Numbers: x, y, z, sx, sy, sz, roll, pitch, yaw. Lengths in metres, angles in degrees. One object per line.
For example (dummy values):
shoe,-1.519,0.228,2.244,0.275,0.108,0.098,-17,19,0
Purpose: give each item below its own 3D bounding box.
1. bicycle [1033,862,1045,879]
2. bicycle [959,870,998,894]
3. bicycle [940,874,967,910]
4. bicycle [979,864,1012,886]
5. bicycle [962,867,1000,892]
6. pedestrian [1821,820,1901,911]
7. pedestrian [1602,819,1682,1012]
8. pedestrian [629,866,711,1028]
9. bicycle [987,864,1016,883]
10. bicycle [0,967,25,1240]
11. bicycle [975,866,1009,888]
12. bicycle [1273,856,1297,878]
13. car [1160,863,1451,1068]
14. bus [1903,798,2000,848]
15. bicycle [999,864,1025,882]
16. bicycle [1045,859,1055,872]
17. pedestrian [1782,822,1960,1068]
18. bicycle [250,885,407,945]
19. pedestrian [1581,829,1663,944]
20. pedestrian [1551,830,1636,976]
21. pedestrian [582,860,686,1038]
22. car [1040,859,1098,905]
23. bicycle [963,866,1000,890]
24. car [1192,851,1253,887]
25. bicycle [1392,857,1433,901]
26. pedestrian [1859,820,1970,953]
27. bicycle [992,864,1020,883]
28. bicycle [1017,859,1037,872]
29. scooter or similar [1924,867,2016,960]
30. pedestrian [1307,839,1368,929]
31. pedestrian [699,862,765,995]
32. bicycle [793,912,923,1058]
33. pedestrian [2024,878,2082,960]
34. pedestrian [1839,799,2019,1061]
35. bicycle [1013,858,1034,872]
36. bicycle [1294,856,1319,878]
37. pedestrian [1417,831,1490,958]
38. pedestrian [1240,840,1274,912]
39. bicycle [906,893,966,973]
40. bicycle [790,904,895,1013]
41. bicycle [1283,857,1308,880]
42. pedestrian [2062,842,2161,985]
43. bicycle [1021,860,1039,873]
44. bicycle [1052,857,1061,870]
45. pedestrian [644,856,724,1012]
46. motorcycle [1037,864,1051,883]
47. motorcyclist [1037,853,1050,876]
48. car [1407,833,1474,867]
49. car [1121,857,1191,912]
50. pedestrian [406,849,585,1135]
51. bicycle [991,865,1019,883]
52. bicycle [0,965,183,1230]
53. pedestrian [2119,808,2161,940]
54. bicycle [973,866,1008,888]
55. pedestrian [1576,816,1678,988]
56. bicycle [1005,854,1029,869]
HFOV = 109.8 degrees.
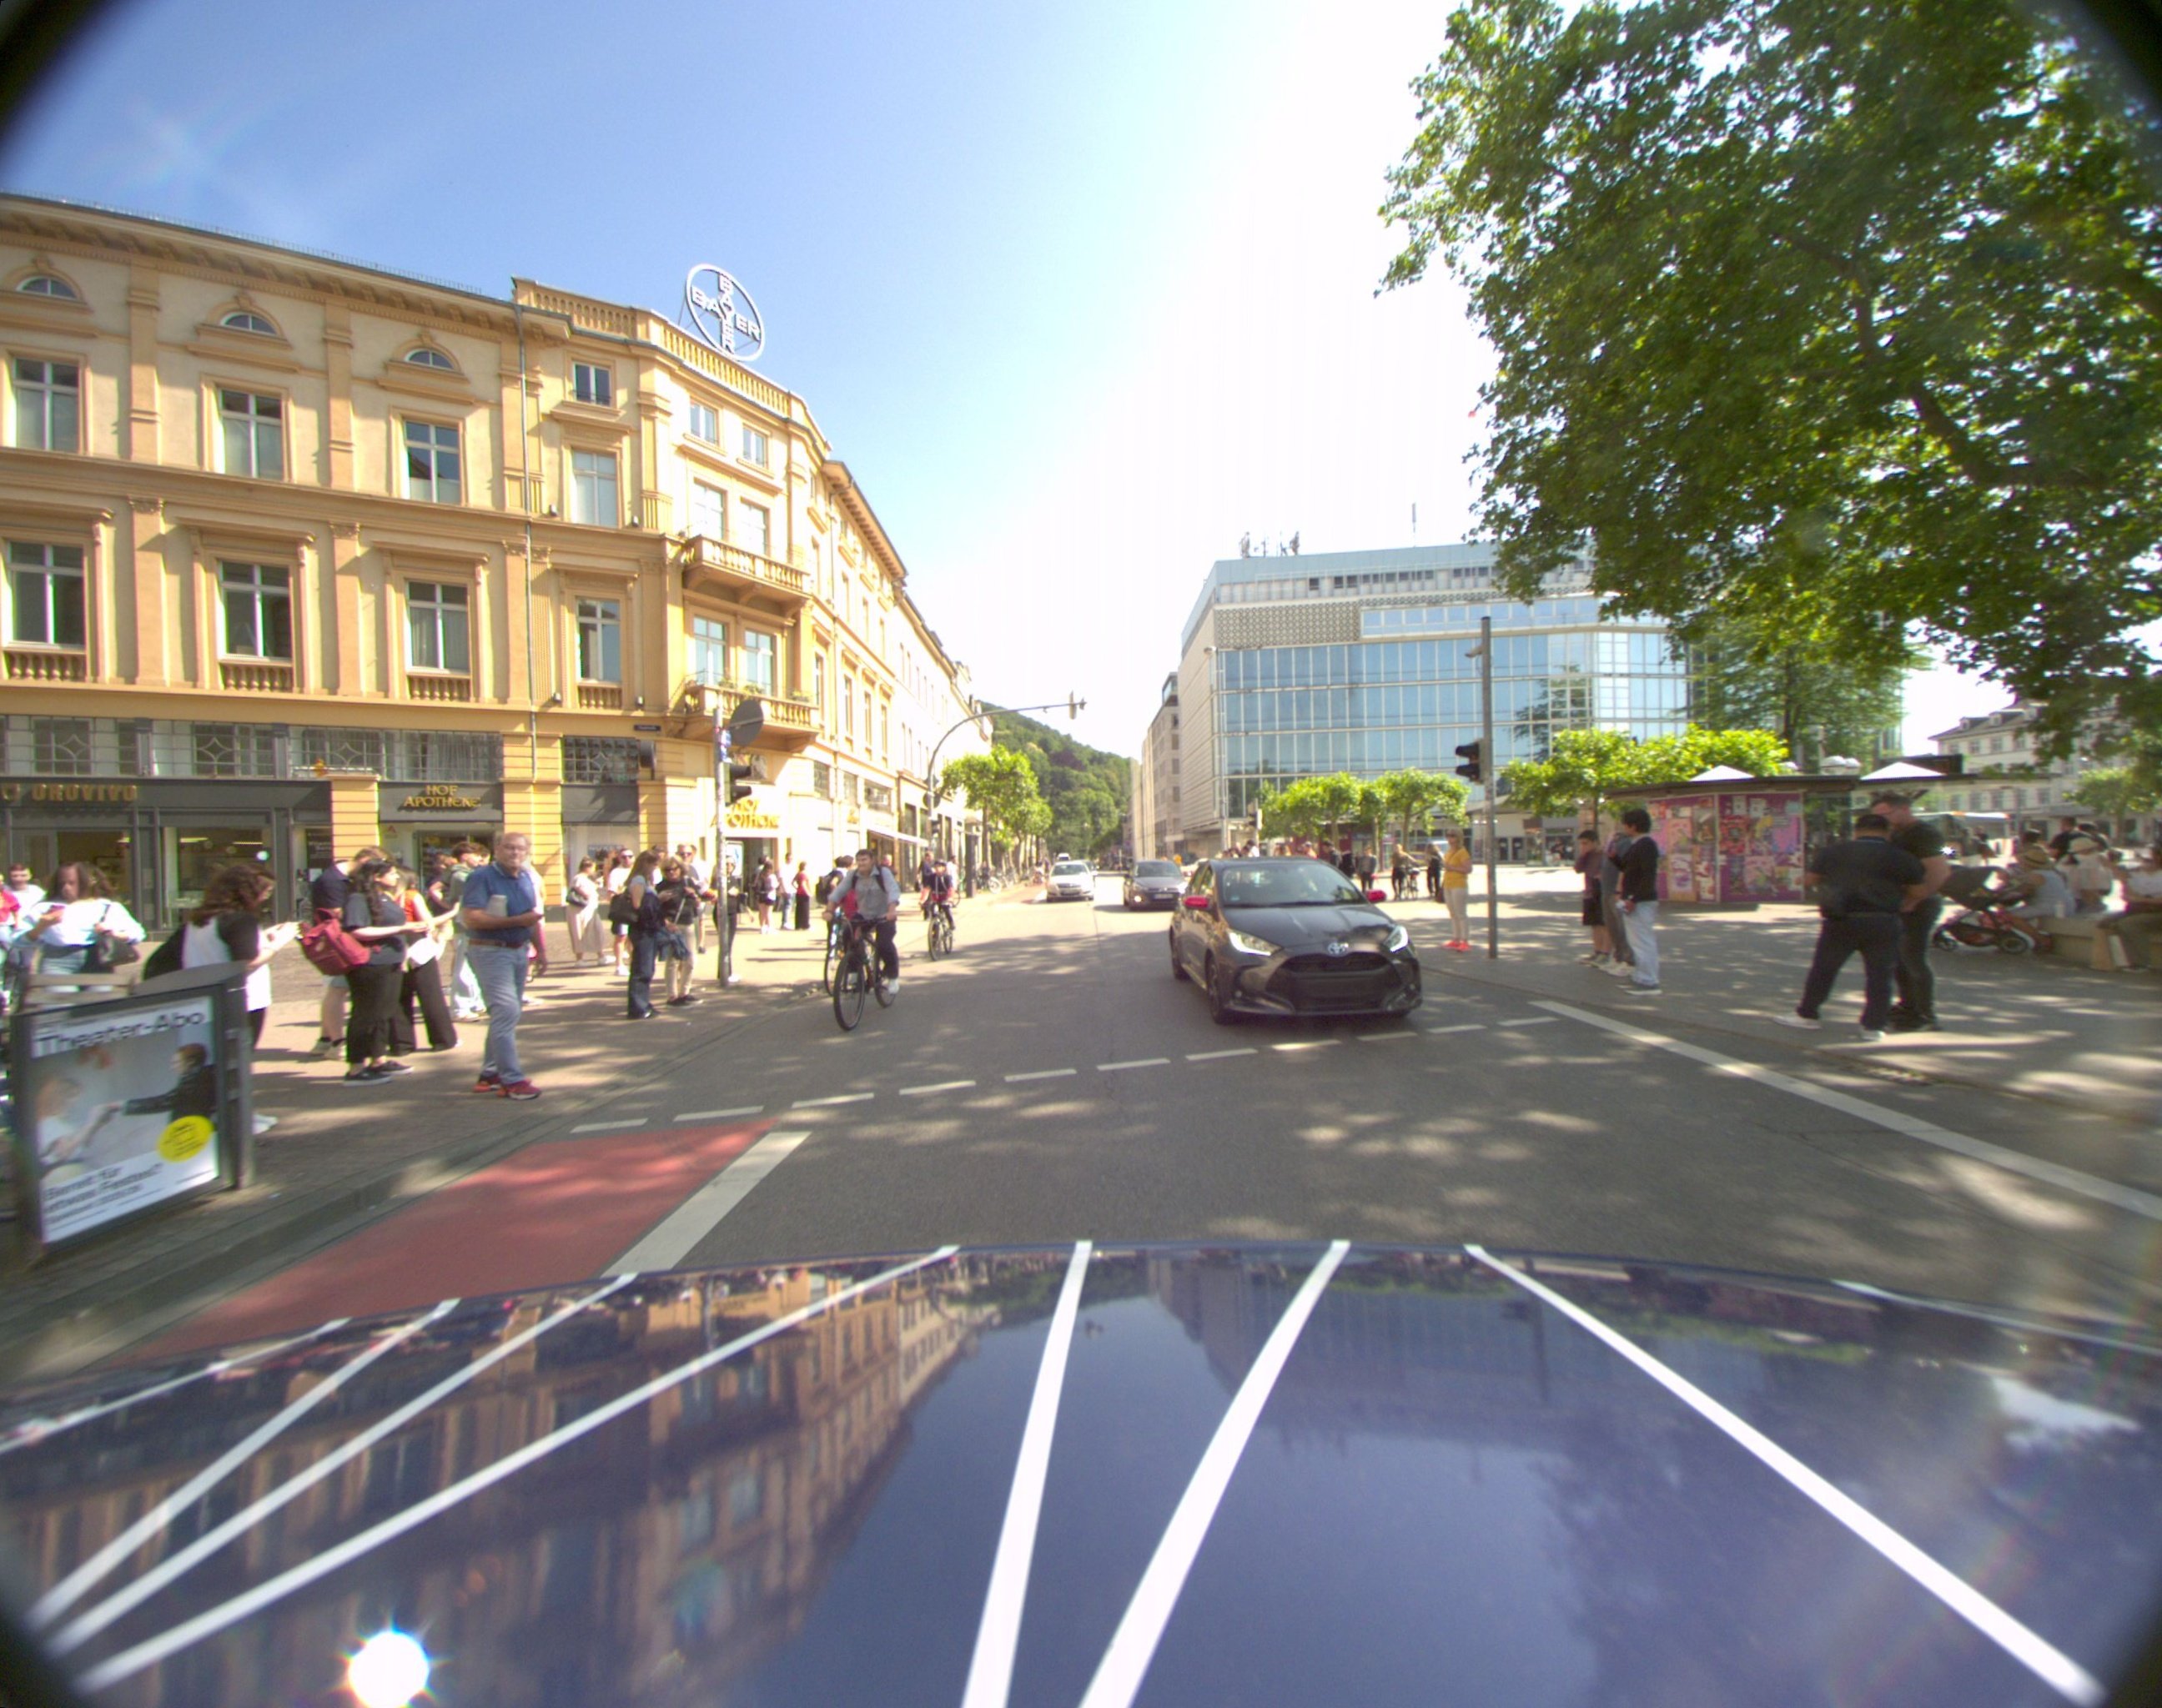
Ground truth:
bicycle,-2.931,1.143,53.233,0.736,1.086,1.897,-3,1,0
bicycle,-4.863,1.324,36.067,1.757,1.029,0.592,-2,1,-2
bicycle,-4.371,1.278,25.875,0.737,1.086,1.895,1,0,-14
bicycle,-4.807,1.165,42.827,1.757,1.140,0.592,-2,1,-2
bicycle,-4.893,1.244,37.193,1.757,1.140,0.592,-2,1,-2
pedestrian,15.764,0.225,15.368,0.751,1.737,0.782,-3,1,-2
pedestrian,5.443,0.561,7.404,0.537,1.773,0.745,-3,1,34
pedestrian,-4.413,0.971,8.187,0.569,1.675,0.590,0,1,-4
bicycle,-5.019,1.249,48.011,1.757,1.140,0.592,-2,1,-2
bicycle,-5.534,1.129,3.165,1.533,1.190,0.425,-2,1,-2
bicycle,-4.857,1.244,41.369,1.757,1.140,0.592,-2,1,-2
bicycle,10.839,0.684,40.422,0.592,1.140,1.757,-2,1,-8
car,1.930,0.875,7.813,1.782,1.467,3.999,0,1,-1
bus,57.826,-2.140,50.334,12.201,2.774,2.384,-4,1,-32
bicycle,-4.779,1.299,52.663,1.757,1.140,0.592,-2,1,-2
bicycle,-2.718,0.982,67.184,0.736,1.086,1.897,-3,1,0
pedestrian,5.698,0.611,5.530,0.630,1.639,0.753,-3,1,25
bicycle,-17.550,1.399,17.814,2.421,1.145,0.780,-4,1,-24
pedestrian,8.642,0.503,12.164,0.751,1.737,0.666,-3,1,-2
pedestrian,6.185,0.572,9.198,0.604,1.705,0.606,-1,1,-2
pedestrian,-4.476,0.919,7.648,0.578,1.675,0.622,-4,1,-4
car,-0.408,0.978,28.338,1.918,1.401,3.999,-3,1,0
bicycle,-4.964,1.197,38.086,1.757,1.140,0.592,-2,1,-2
car,9.068,0.914,48.527,1.995,2.002,4.007,-3,1,40
bicycle,9.728,0.712,22.364,0.729,1.137,1.914,-3,1,13
pedestrian,11.412,0.429,10.434,0.750,1.737,0.784,-3,1,26
bicycle,-4.916,1.286,50.044,1.757,1.140,0.592,-2,1,-2
bicycle,-4.860,1.022,68.438,1.757,1.140,0.592,-2,1,-2
scooter or similar,11.317,0.747,9.689,0.567,1.113,0.539,-3,1,27
pedestrian,5.180,0.588,15.366,0.876,1.737,0.733,-3,1,-2
pedestrian,-4.575,0.950,9.996,0.578,1.675,0.669,0,1,-4
bicycle,-2.167,1.232,7.662,0.736,1.086,1.897,-3,1,-2
pedestrian,11.852,0.791,9.273,0.339,0.961,0.282,-3,1,30
pedestrian,6.316,0.536,5.700,0.517,1.825,0.716,-3,1,7
bicycle,-4.986,0.913,65.786,1.757,1.140,0.592,-2,1,-2
bicycle,12.060,0.695,40.716,0.592,1.140,1.757,-2,1,-8
pedestrian,5.326,0.553,10.896,0.612,1.737,0.752,-2,1,-2
pedestrian,4.818,0.576,20.788,0.639,1.903,0.733,-3,1,-2
bicycle,-2.374,1.262,12.640,0.667,1.086,1.897,-3,1,-3
bicycle,-2.936,1.250,9.558,0.736,1.086,1.819,-3,0,-2
bicycle,11.449,0.761,40.560,0.592,1.140,1.757,-2,1,-8
pedestrian,11.157,0.596,7.966,0.752,1.399,0.782,-4,1,-11
bicycle,-5.000,1.243,74.998,1.757,1.140,0.592,-2,1,-2
bicycle,-2.333,0.903,72.407,0.736,1.086,1.897,-3,1,0
pedestrian,-4.678,0.910,8.996,0.578,1.774,0.699,0,1,-4
motorcycle,-2.372,1.235,48.609,0.736,1.086,1.897,-3,1,0
motorcyclist,-2.402,0.674,48.490,0.736,1.446,0.706,-3,1,0
car,23.123,-0.266,49.066,2.000,2.002,3.997,-4,1,-7
car,2.127,0.839,22.570,1.699,1.397,3.999,0,1,0
pedestrian,-4.045,0.899,5.309,0.578,1.835,0.717,-4,1,-4
bicycle,-4.905,1.285,49.078,1.757,1.140,0.592,-2,1,-2
bicycle,-5.461,1.170,3.663,1.633,1.140,0.425,-2,1,-3
pedestrian,14.751,0.257,10.138,0.752,1.737,0.782,-4,1,-11
bicycle,-4.846,1.223,40.628,1.757,1.140,0.592,-2,1,-2
pedestrian,6.083,0.509,8.497,0.595,1.835,0.738,-1,1,-2
bicycle,-5.017,0.602,59.599,1.757,1.140,0.592,-2,1,-2
